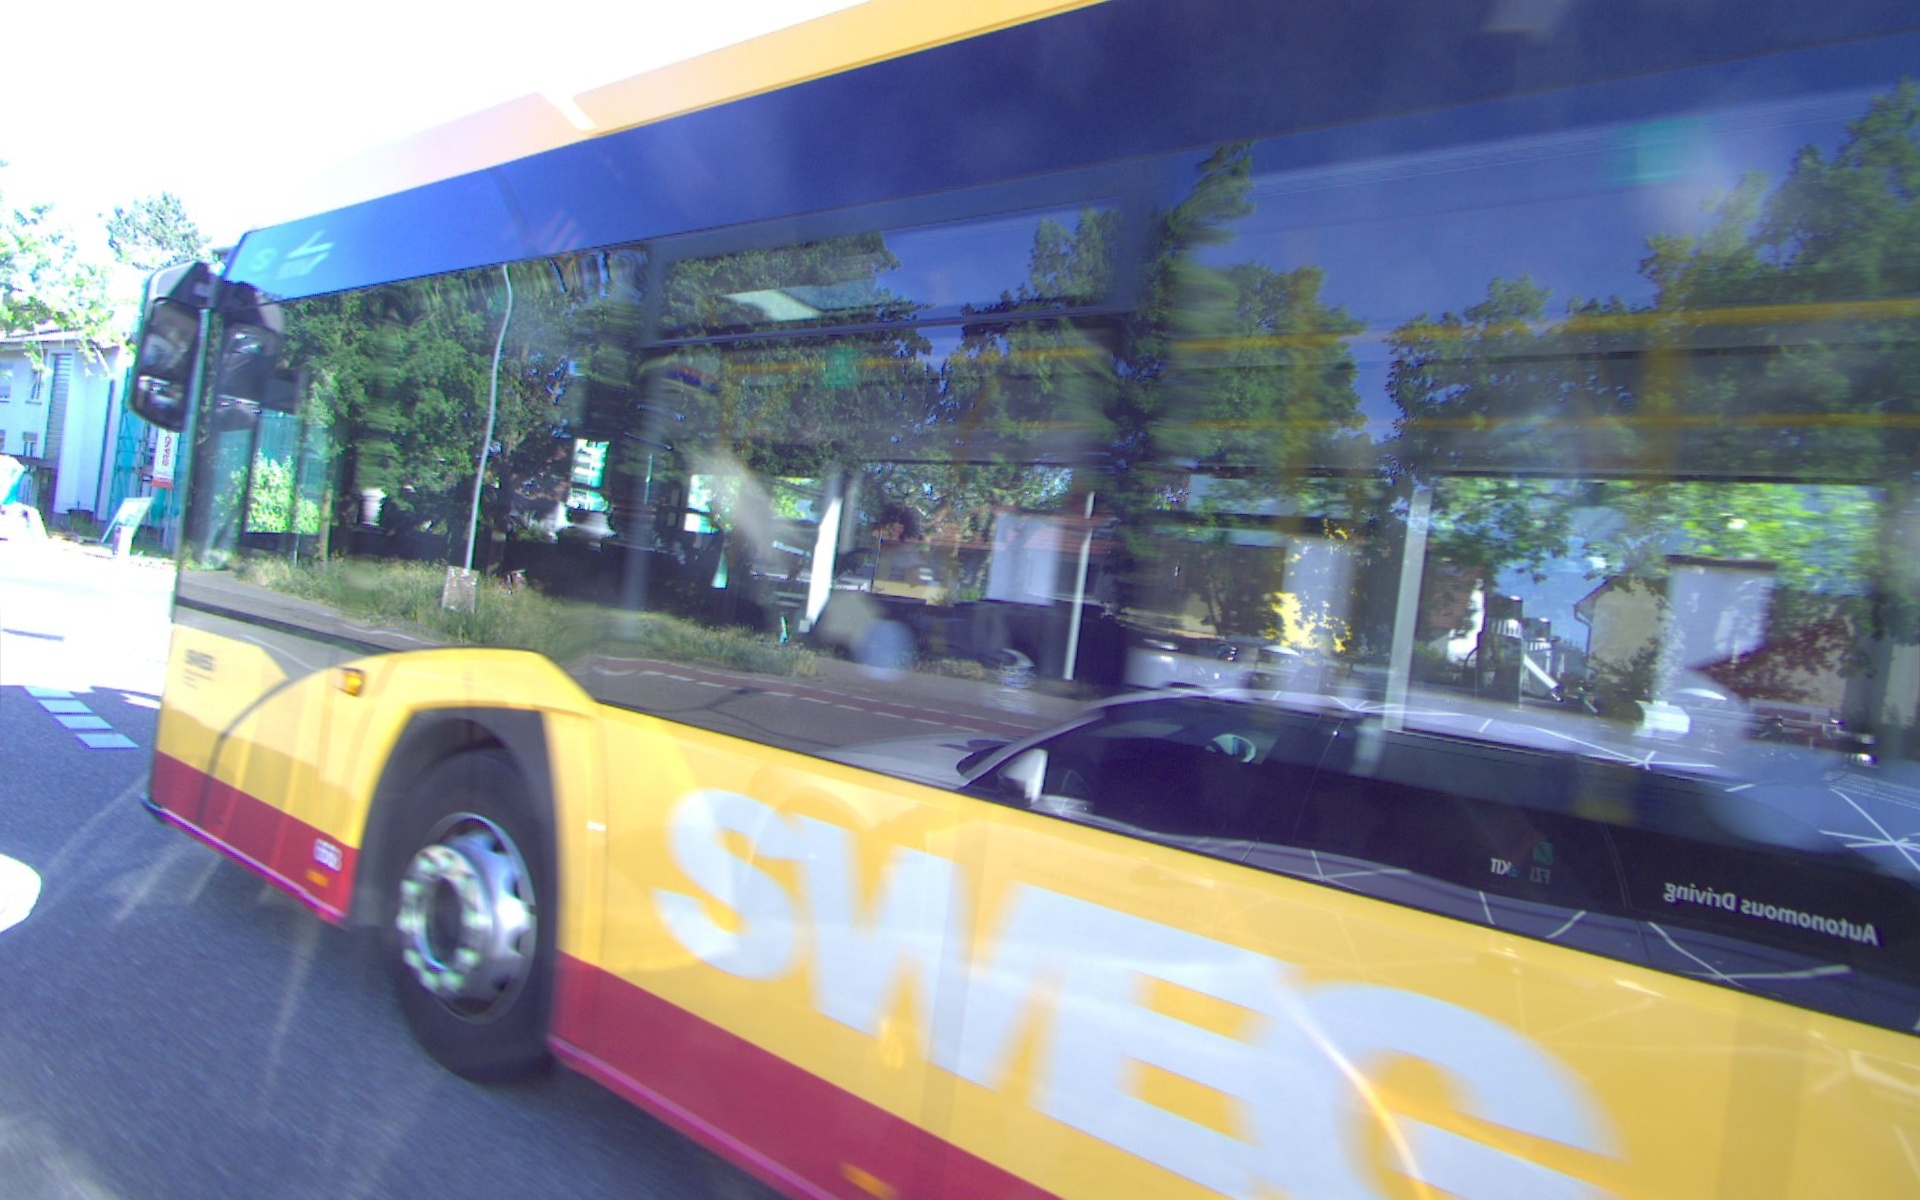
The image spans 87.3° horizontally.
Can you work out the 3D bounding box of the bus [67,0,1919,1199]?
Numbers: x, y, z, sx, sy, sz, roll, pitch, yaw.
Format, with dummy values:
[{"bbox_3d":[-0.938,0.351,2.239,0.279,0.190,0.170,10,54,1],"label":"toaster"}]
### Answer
[{"bbox_3d":[1.911,0.083,2.136,12.202,3.501,2.758,6,0,35],"label":"bus"}]
